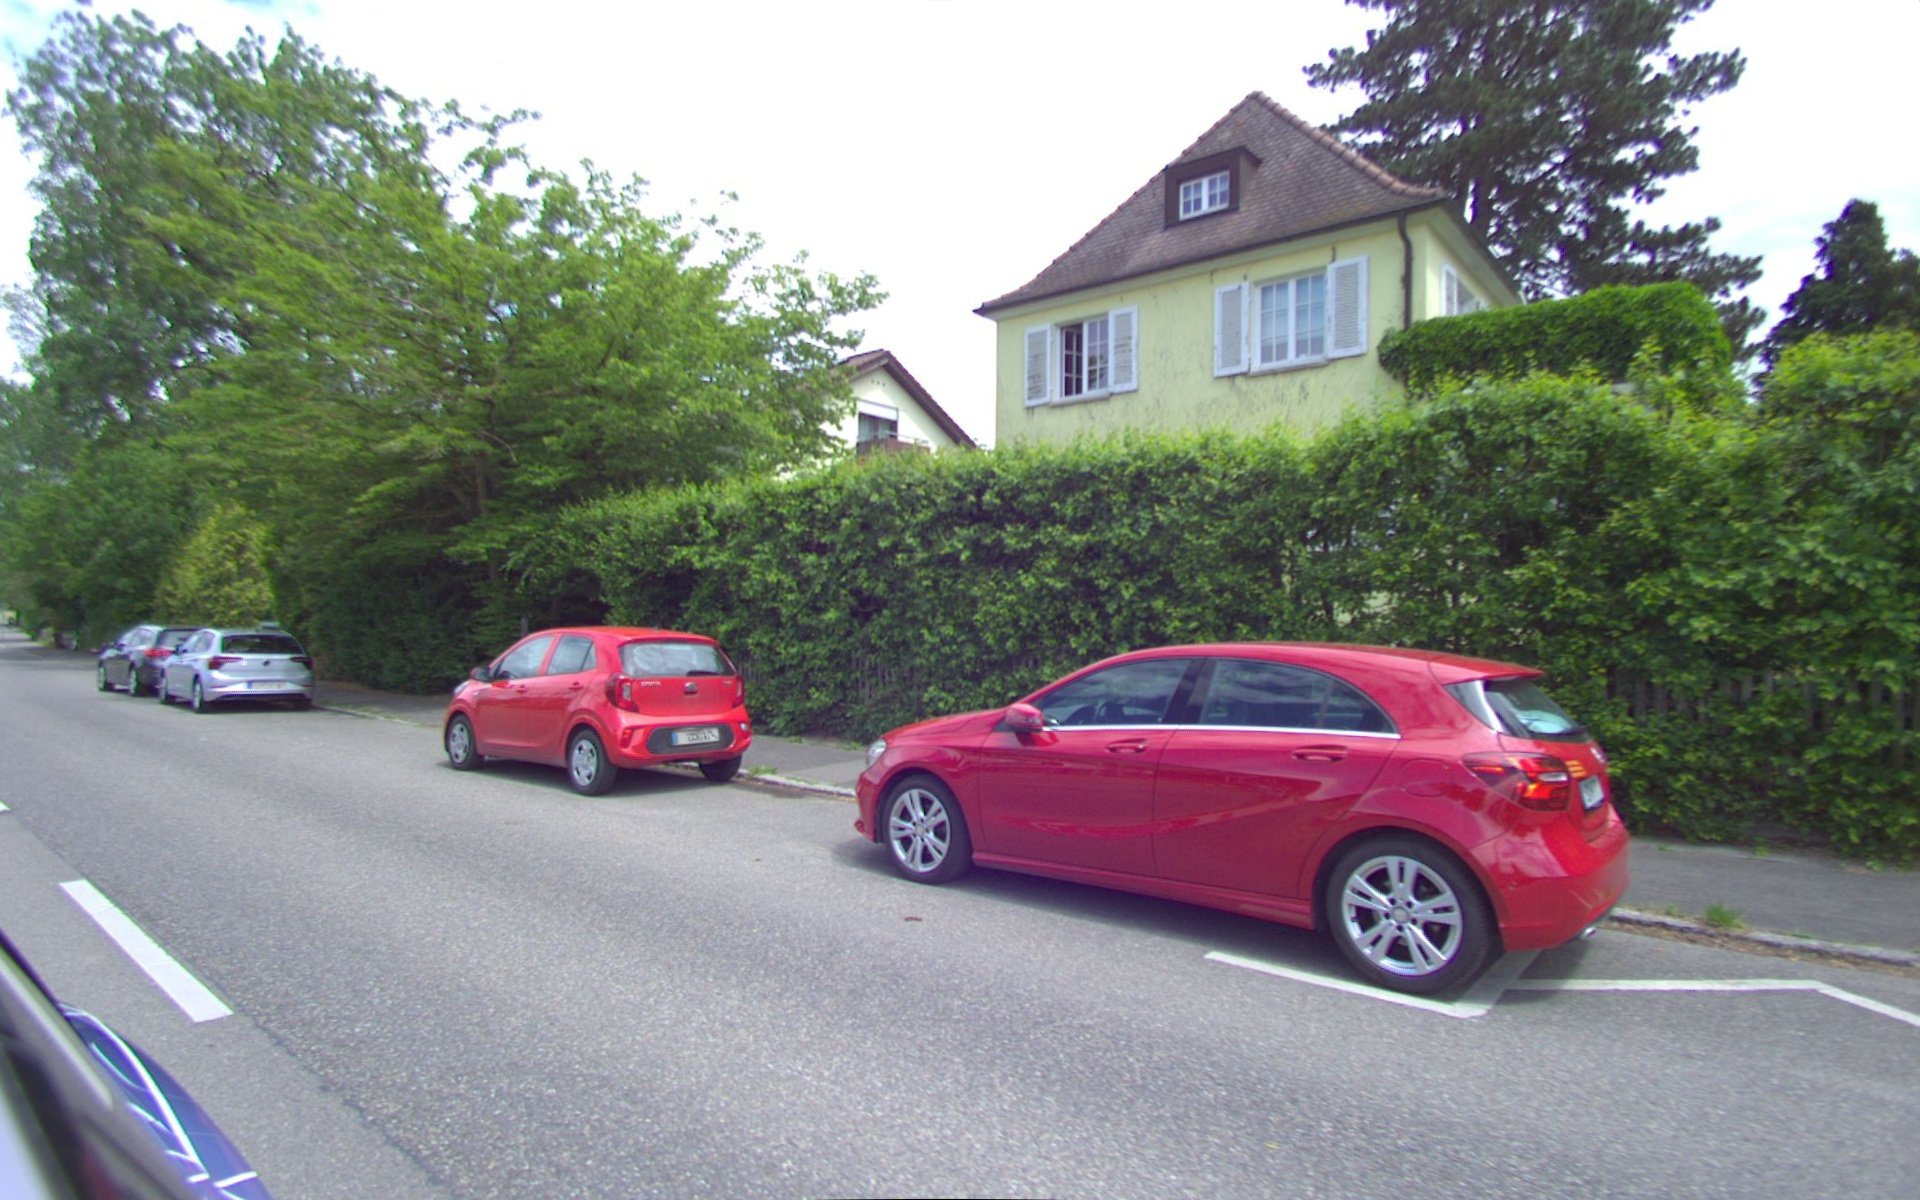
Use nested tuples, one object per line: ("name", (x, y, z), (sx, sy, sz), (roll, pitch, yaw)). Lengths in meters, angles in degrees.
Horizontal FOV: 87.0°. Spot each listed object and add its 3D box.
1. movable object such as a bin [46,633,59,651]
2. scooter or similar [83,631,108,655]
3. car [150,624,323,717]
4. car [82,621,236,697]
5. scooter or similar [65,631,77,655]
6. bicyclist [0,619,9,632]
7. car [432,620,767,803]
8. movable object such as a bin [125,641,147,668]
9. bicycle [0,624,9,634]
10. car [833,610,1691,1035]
("movable object such as a bin", (-50.258, 2.306, 56.037), (0.507, 0.952, 0.569), (0, -1, -45))
("scooter or similar", (-40.046, 2.006, 46.898), (1.208, 1.089, 0.474), (-1, -1, 28))
("car", (-13.311, 1.228, 18.537), (3.962, 1.516, 1.718), (-1, -4, 42))
("car", (-17.535, 1.241, 22.092), (4.474, 1.516, 1.719), (-1, -4, 40))
("scooter or similar", (-46.108, 2.198, 52.498), (0.403, 1.208, 1.641), (1, -2, -43))
("bicyclist", (-114.051, 3.057, 120.791), (0.769, 1.561, 0.870), (2, -2, -44))
("car", (-3.688, 0.983, 10.132), (3.511, 1.516, 1.572), (-1, -3, 40))
("movable object such as a bin", (-30.196, 1.985, 37.084), (0.428, 0.937, 0.459), (-1, 2, 29))
("bicycle", (-114.076, 3.477, 120.786), (0.746, 1.236, 2.310), (4, -3, -44))
("car", (1.381, 0.842, 5.571), (4.181, 1.482, 1.744), (-1, -3, 40))
